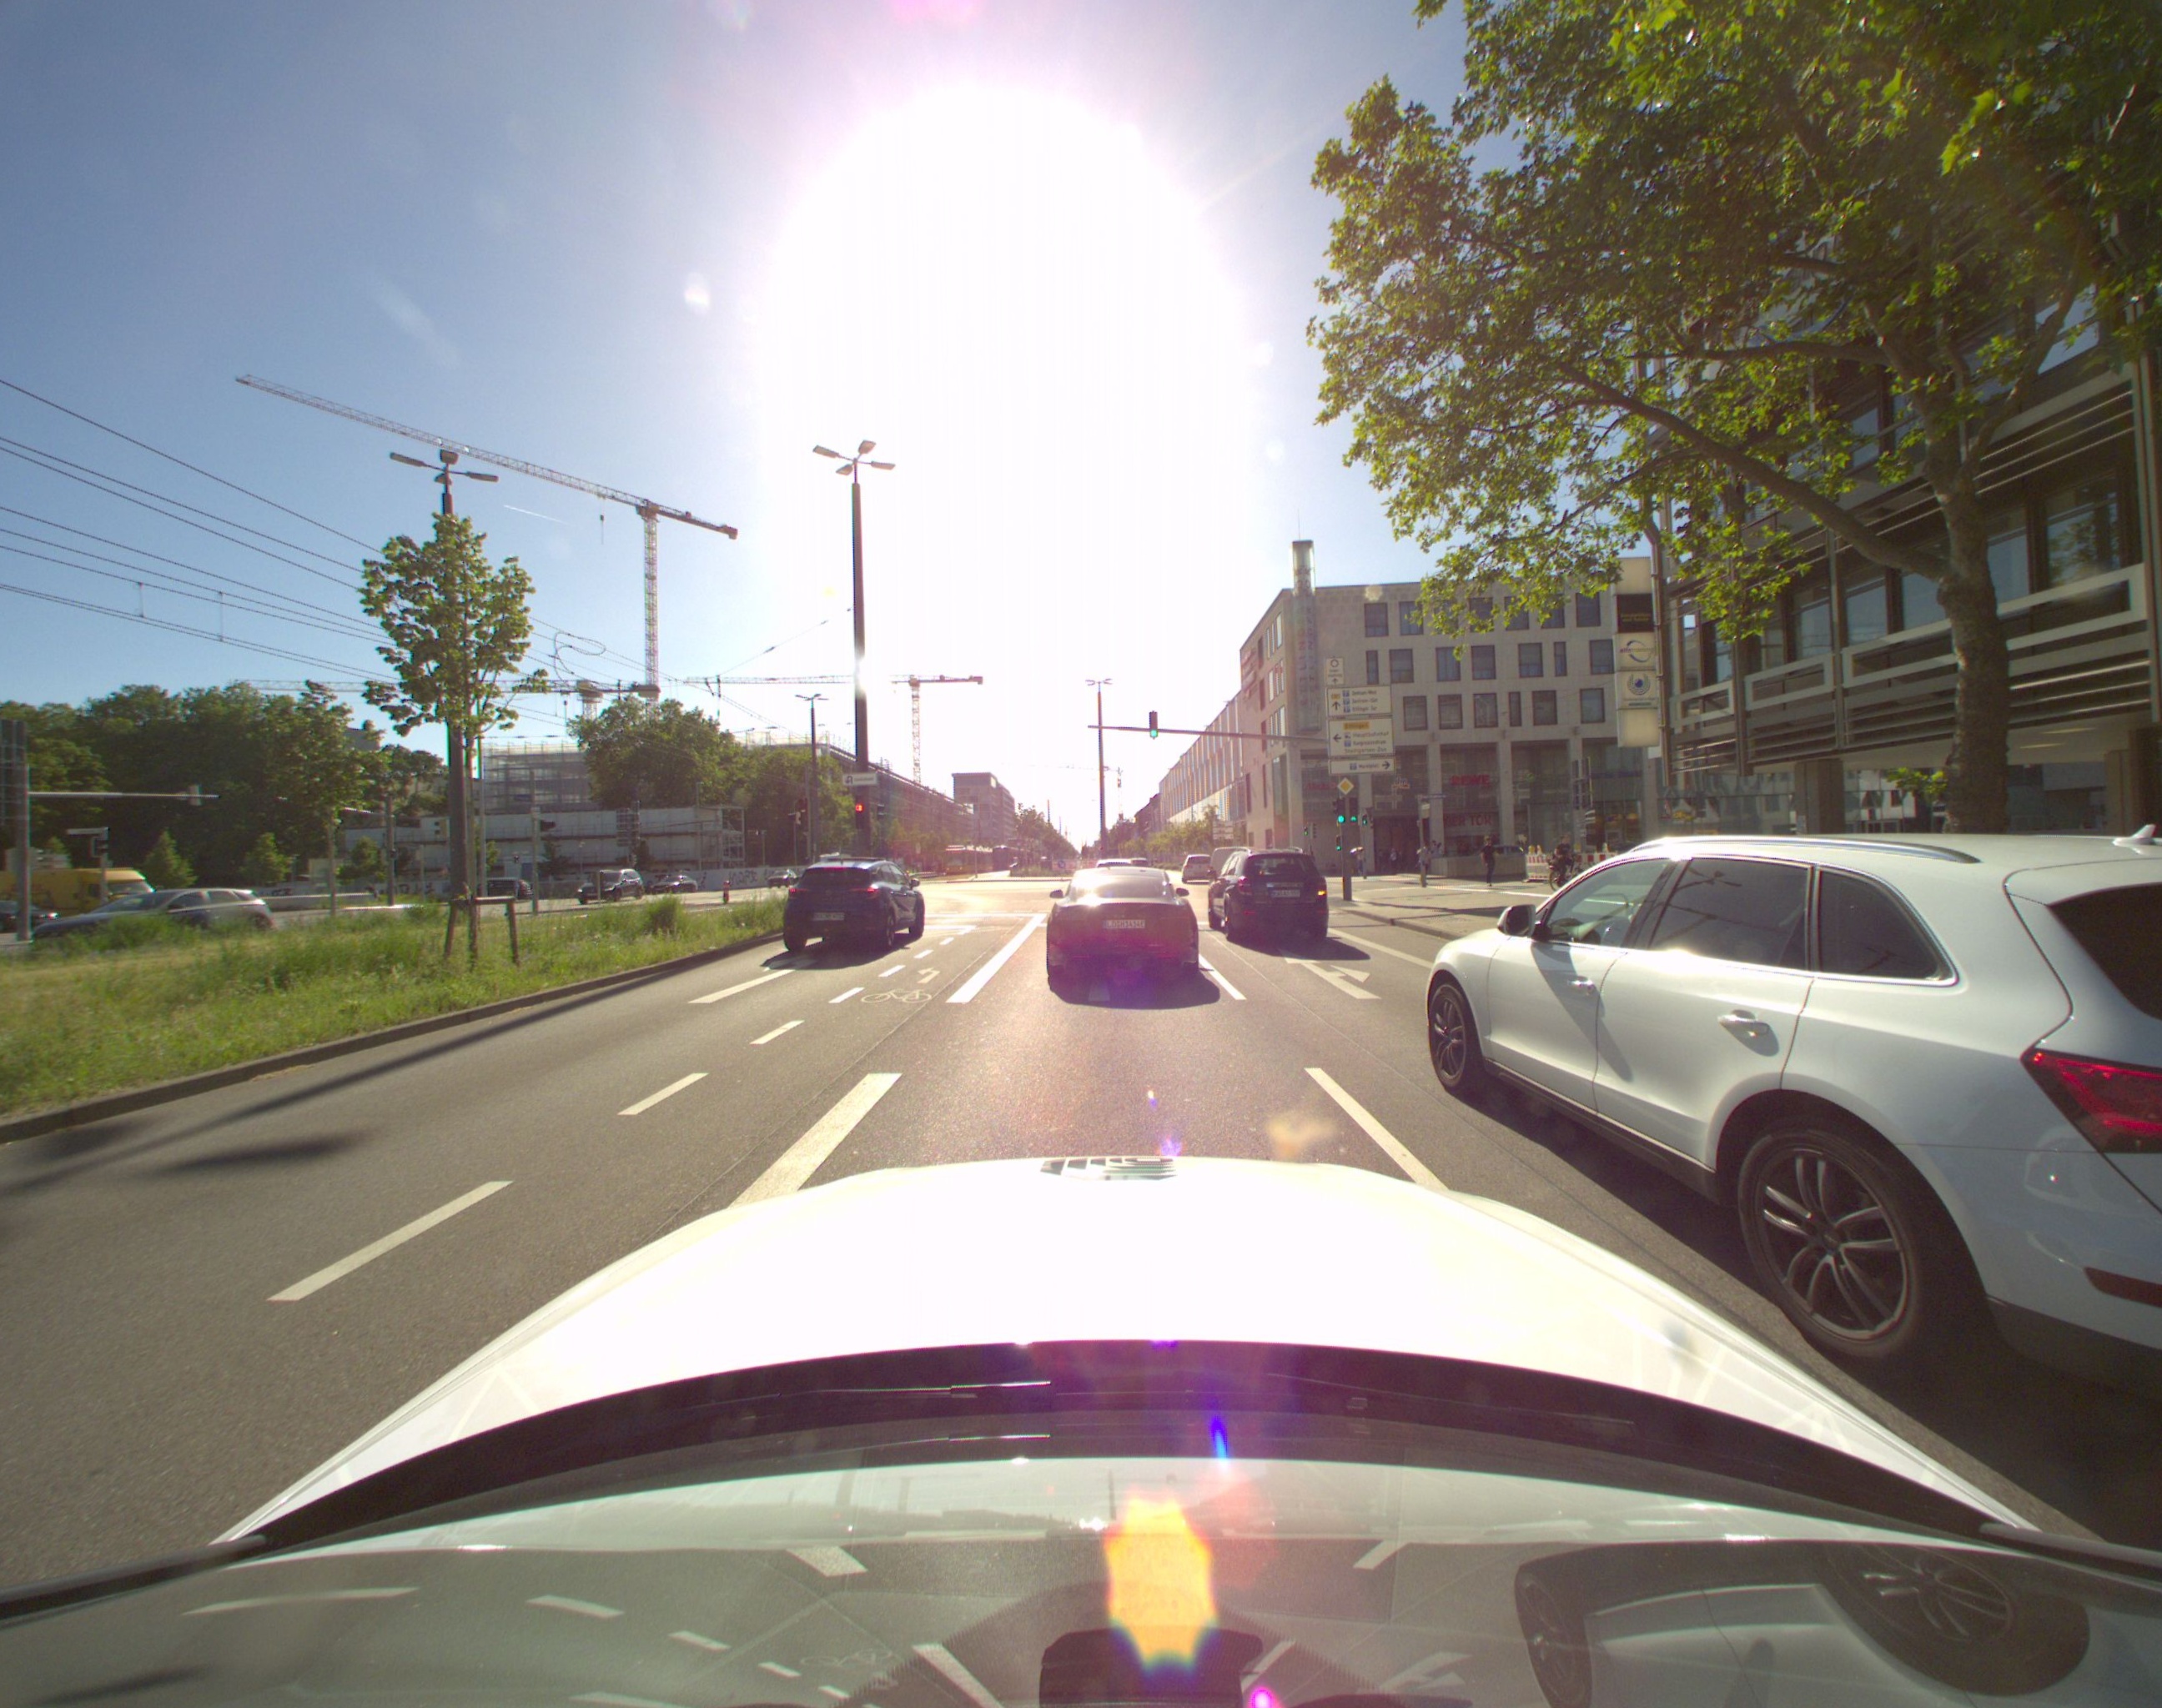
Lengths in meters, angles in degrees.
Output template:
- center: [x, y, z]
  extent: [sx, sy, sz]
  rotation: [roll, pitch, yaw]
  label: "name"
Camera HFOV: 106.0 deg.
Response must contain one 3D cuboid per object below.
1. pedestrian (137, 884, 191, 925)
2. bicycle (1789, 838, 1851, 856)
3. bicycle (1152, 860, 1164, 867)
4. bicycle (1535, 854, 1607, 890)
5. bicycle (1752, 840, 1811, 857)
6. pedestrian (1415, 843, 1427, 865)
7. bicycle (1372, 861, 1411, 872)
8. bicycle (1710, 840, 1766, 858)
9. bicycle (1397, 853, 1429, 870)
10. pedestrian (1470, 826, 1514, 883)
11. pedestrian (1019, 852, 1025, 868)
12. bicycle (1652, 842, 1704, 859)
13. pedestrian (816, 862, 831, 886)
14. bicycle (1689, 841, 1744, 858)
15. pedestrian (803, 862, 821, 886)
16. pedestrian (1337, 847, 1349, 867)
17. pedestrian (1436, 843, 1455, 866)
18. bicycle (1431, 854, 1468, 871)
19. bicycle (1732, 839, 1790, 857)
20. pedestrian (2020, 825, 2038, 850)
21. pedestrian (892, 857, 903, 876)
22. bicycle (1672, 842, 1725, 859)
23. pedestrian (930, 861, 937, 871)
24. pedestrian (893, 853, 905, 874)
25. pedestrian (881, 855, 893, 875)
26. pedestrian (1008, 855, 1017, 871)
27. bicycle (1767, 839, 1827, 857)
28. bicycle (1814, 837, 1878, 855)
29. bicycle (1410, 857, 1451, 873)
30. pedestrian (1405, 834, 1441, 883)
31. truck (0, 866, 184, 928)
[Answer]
- center: [-39.202, 2.146, 34.830]
  extent: [1.189, 1.685, 0.946]
  rotation: [-1, 1, -3]
  label: "pedestrian"
- center: [48.831, -0.459, 53.878]
  extent: [1.061, 1.094, 3.501]
  rotation: [-2, 0, 4]
  label: "bicycle"
- center: [13.149, 1.641, 139.833]
  extent: [1.881, 1.151, 0.669]
  rotation: [-3, -1, -10]
  label: "bicycle"
- center: [14.283, 0.500, 23.834]
  extent: [0.878, 0.984, 2.051]
  rotation: [-2, 0, 1]
  label: "bicycle"
- center: [46.518, -0.354, 54.170]
  extent: [1.061, 1.094, 3.501]
  rotation: [-2, 0, 4]
  label: "bicycle"
- center: [28.442, 0.017, 68.093]
  extent: [0.559, 1.762, 0.643]
  rotation: [-2, 0, -35]
  label: "pedestrian"
- center: [20.111, 0.803, 52.809]
  extent: [2.183, 0.671, 1.073]
  rotation: [-2, -1, 4]
  label: "bicycle"
- center: [43.954, -0.325, 54.529]
  extent: [1.061, 1.094, 3.501]
  rotation: [-2, 0, 4]
  label: "bicycle"
- center: [22.771, 0.489, 55.968]
  extent: [1.061, 1.094, 2.993]
  rotation: [-2, 0, 3]
  label: "bicycle"
- center: [14.968, 0.016, 29.677]
  extent: [0.945, 2.013, 1.077]
  rotation: [-2, 0, -7]
  label: "pedestrian"
- center: [-6.522, 0.667, 89.909]
  extent: [0.701, 1.775, 0.958]
  rotation: [0, 0, -2]
  label: "pedestrian"
- center: [40.212, -0.224, 54.940]
  extent: [1.061, 1.094, 3.501]
  rotation: [-2, 0, 4]
  label: "bicycle"
- center: [-19.967, 1.534, 63.148]
  extent: [0.797, 1.823, 0.976]
  rotation: [-2, 0, -2]
  label: "pedestrian"
- center: [42.523, -0.267, 54.578]
  extent: [1.061, 1.094, 3.501]
  rotation: [-2, 0, 4]
  label: "bicycle"
- center: [-20.318, 1.511, 61.525]
  extent: [0.792, 1.823, 0.887]
  rotation: [-2, 0, 33]
  label: "pedestrian"
- center: [21.093, 0.248, 65.467]
  extent: [0.745, 1.608, 0.556]
  rotation: [-2, 0, -1]
  label: "pedestrian"
- center: [26.995, 0.024, 60.291]
  extent: [0.974, 1.684, 0.860]
  rotation: [-2, 0, -1]
  label: "pedestrian"
- center: [25.085, 0.540, 55.552]
  extent: [1.061, 1.094, 3.500]
  rotation: [-2, 0, 3]
  label: "bicycle"
- center: [45.299, -0.389, 54.318]
  extent: [1.061, 1.094, 3.501]
  rotation: [-2, 0, 4]
  label: "bicycle"
- center: [64.783, -1.130, 55.638]
  extent: [0.534, 1.684, 0.572]
  rotation: [-2, -1, -6]
  label: "pedestrian"
- center: [-17.138, 1.163, 76.215]
  extent: [0.797, 1.823, 0.976]
  rotation: [-2, 0, -2]
  label: "pedestrian"
- center: [41.369, -0.220, 54.633]
  extent: [1.061, 1.094, 3.501]
  rotation: [-2, 0, 4]
  label: "bicycle"
- center: [-16.939, 1.392, 93.429]
  extent: [0.669, 1.226, 0.506]
  rotation: [0, -1, -2]
  label: "pedestrian"
- center: [-16.288, 0.875, 72.747]
  extent: [0.797, 1.823, 0.976]
  rotation: [-2, 0, -2]
  label: "pedestrian"
- center: [-17.635, 0.991, 74.162]
  extent: [0.797, 1.823, 0.976]
  rotation: [-2, 0, -2]
  label: "pedestrian"
- center: [-7.800, 1.057, 92.867]
  extent: [0.872, 1.775, 1.188]
  rotation: [0, 0, -2]
  label: "pedestrian"
- center: [47.700, -0.380, 54.334]
  extent: [1.061, 1.094, 3.501]
  rotation: [-2, 0, 4]
  label: "bicycle"
- center: [50.435, -0.513, 53.766]
  extent: [1.061, 1.094, 3.501]
  rotation: [-2, 0, 4]
  label: "bicycle"
- center: [22.604, 0.717, 52.653]
  extent: [2.183, 0.943, 1.073]
  rotation: [-2, -1, 4]
  label: "bicycle"
- center: [14.727, 0.190, 35.053]
  extent: [0.947, 2.013, 1.076]
  rotation: [-2, 0, -10]
  label: "pedestrian"
- center: [-50.336, 2.158, 41.132]
  extent: [7.967, 2.793, 2.467]
  rotation: [-2, -1, 6]
  label: "truck"
